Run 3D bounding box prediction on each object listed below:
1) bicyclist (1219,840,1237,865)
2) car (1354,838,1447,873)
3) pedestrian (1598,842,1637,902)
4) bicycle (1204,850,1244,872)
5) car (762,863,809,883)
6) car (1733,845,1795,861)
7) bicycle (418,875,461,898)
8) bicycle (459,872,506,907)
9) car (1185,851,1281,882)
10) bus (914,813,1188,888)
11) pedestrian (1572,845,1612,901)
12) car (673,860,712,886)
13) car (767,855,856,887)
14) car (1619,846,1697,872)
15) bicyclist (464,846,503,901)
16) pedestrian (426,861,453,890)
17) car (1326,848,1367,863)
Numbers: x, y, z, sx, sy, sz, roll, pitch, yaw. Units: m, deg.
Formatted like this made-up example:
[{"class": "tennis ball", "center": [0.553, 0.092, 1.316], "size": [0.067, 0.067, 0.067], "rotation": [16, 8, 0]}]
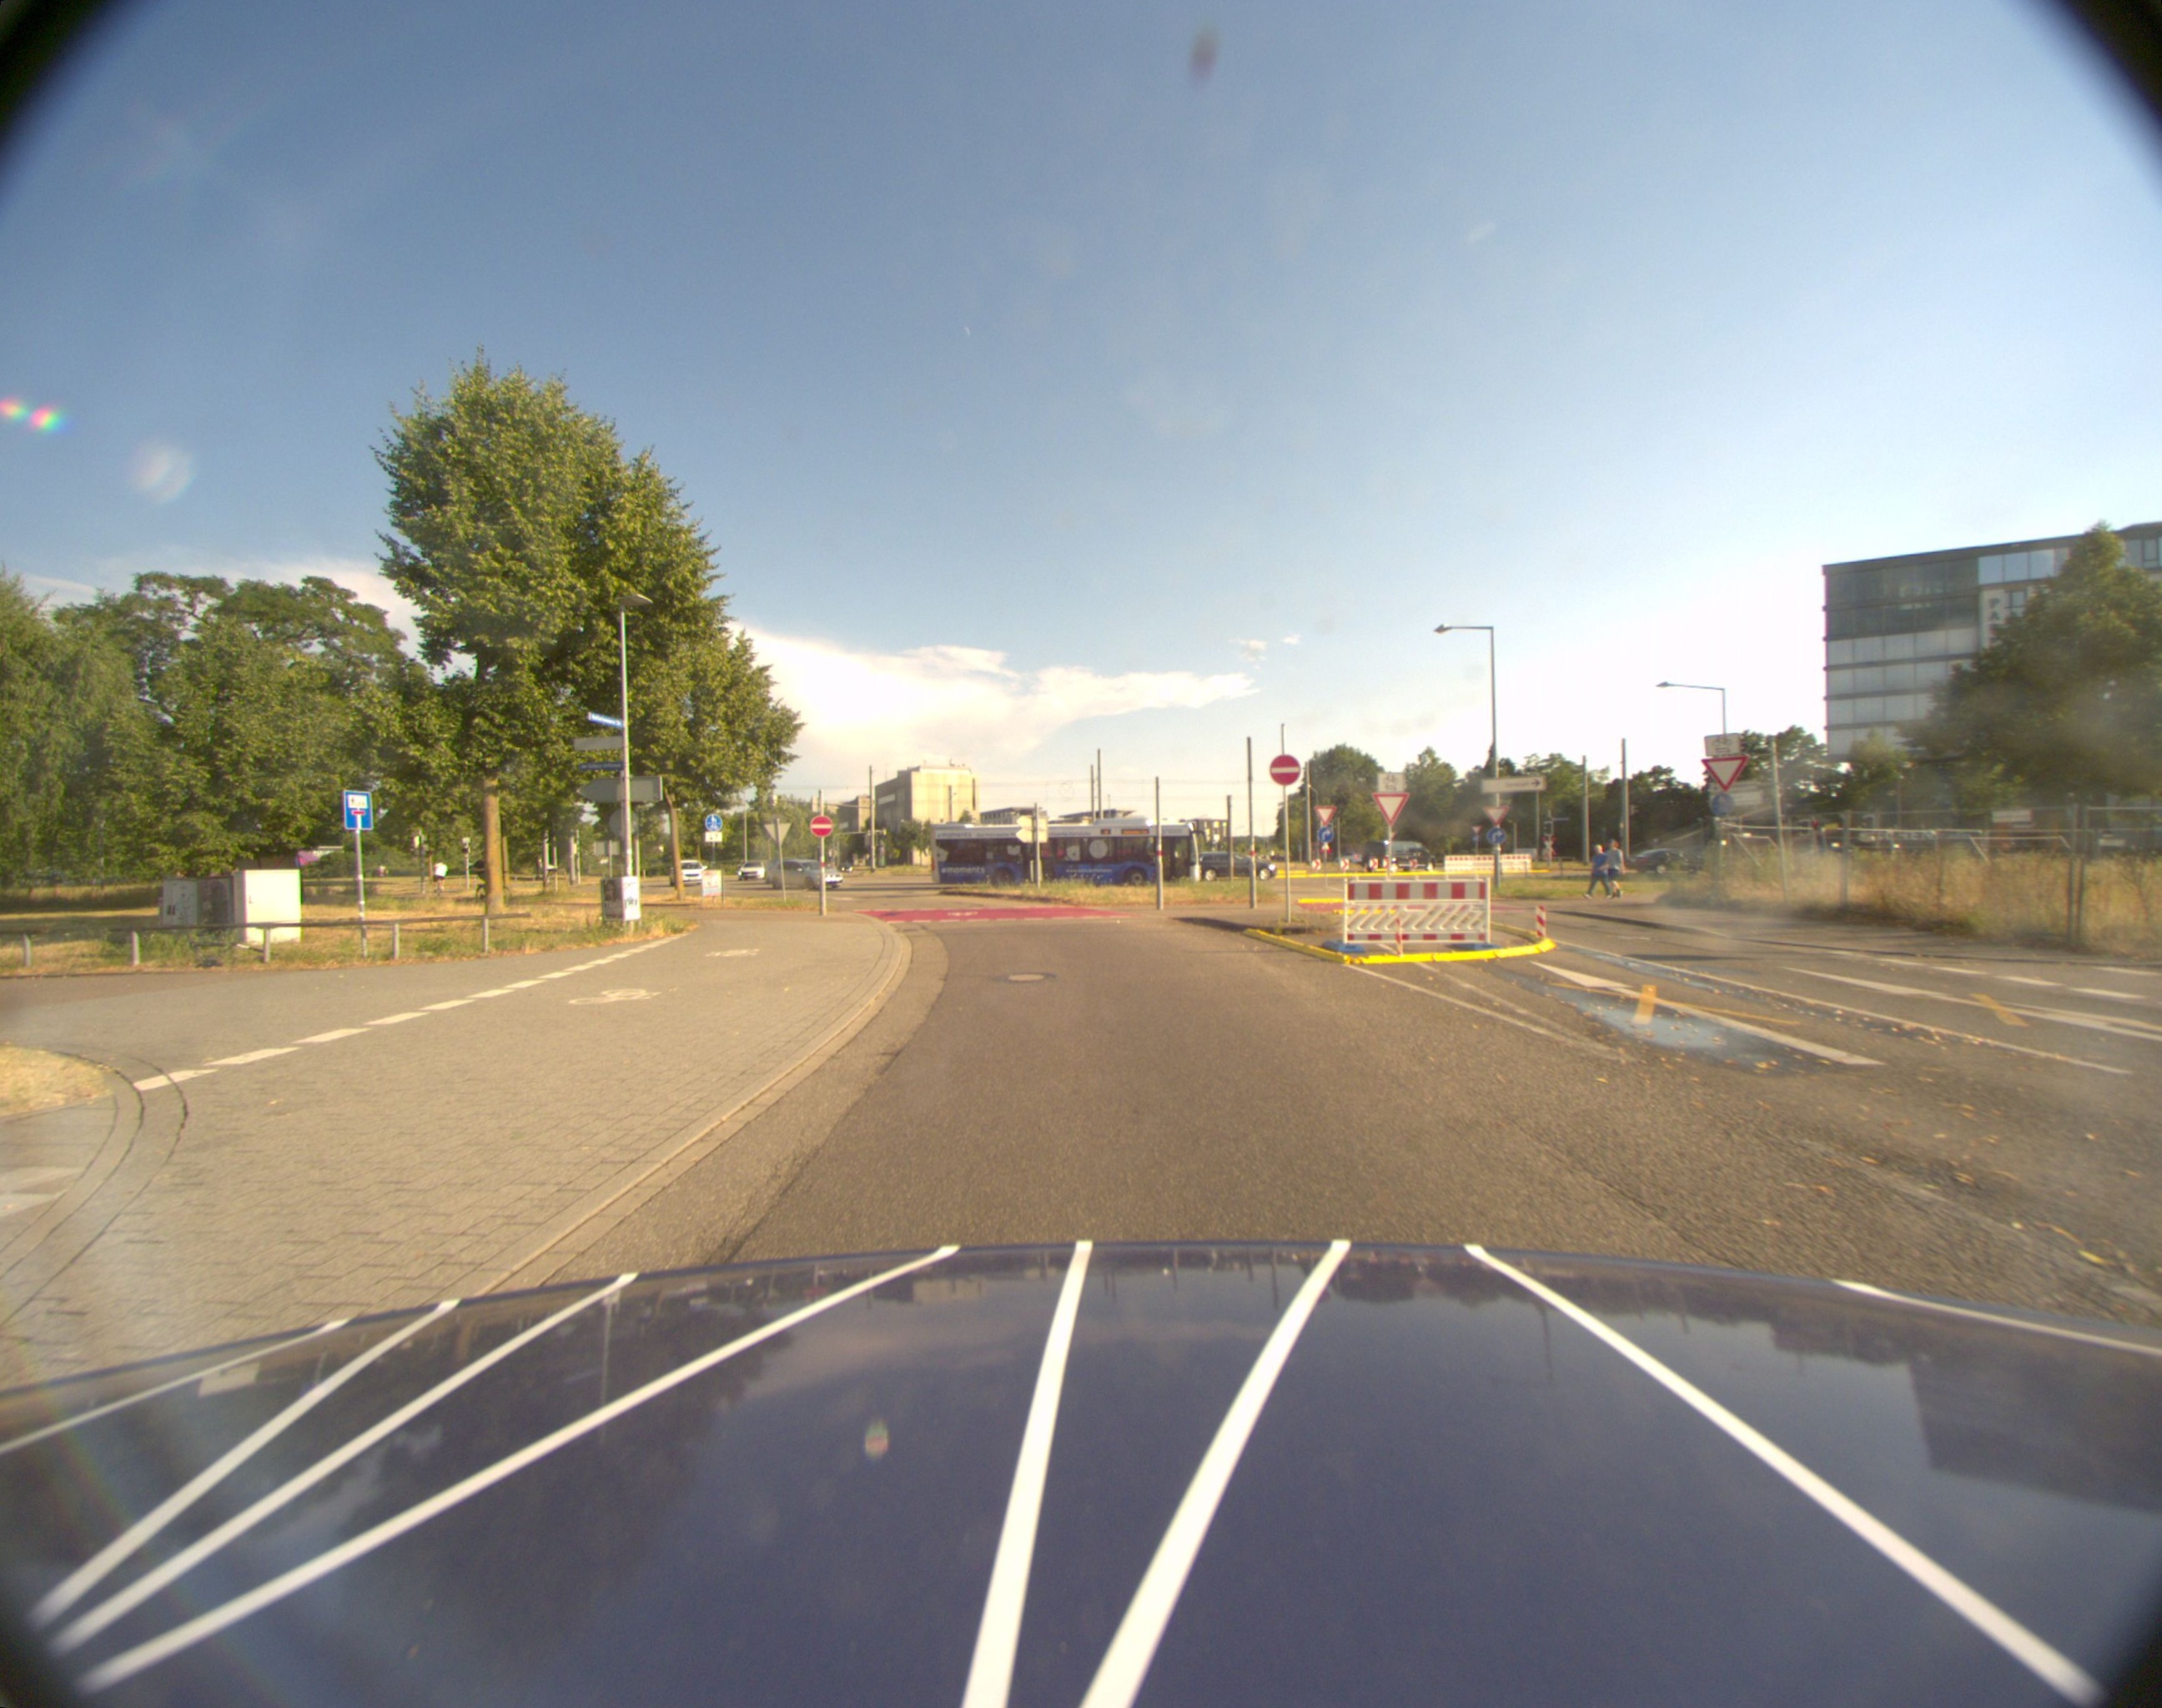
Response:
[{"class": "bicyclist", "center": [8.419, -0.097, 43.515], "size": [0.772, 1.377, 0.883], "rotation": [-3, 3, -7]}, {"class": "car", "center": [19.894, 0.102, 47.321], "size": [5.249, 2.035, 2.091], "rotation": [-1, 0, -20]}, {"class": "pedestrian", "center": [16.127, 0.525, 22.844], "size": [0.773, 1.765, 0.758], "rotation": [-1, 0, -38]}, {"class": "bicycle", "center": [8.167, 0.399, 43.424], "size": [2.031, 1.177, 0.820], "rotation": [-1, 0, -8]}, {"class": "car", "center": [-18.235, 1.163, 46.831], "size": [1.648, 1.171, 3.989], "rotation": [-1, 0, -37]}, {"class": "car", "center": [56.563, -0.094, 63.017], "size": [3.495, 1.232, 1.661], "rotation": [-1, 0, 23]}, {"class": "bicycle", "center": [-31.174, 1.572, 36.958], "size": [0.534, 1.049, 1.913], "rotation": [-1, 0, -2]}, {"class": "bicycle", "center": [-20.047, 1.175, 25.450], "size": [2.119, 1.116, 0.642], "rotation": [-1, 1, 36]}, {"class": "car", "center": [7.671, 0.614, 38.473], "size": [4.386, 1.428, 1.810], "rotation": [-1, 0, -7]}, {"class": "bus", "center": [-1.299, -0.122, 34.733], "size": [12.161, 3.044, 2.668], "rotation": [-1, 0, 8]}, {"class": "pedestrian", "center": [15.893, 0.586, 23.640], "size": [0.814, 1.699, 0.784], "rotation": [-1, 0, -37]}, {"class": "car", "center": [-24.477, 1.161, 47.790], "size": [1.915, 1.542, 4.039], "rotation": [-1, 0, -30]}, {"class": "car", "center": [-13.671, 0.854, 38.562], "size": [3.990, 1.514, 2.004], "rotation": [-1, 0, 27]}, {"class": "car", "center": [33.800, 0.280, 44.476], "size": [4.707, 1.398, 1.839], "rotation": [-1, 0, -28]}, {"class": "bicyclist", "center": [-19.947, 0.650, 25.367], "size": [0.936, 1.790, 0.730], "rotation": [-1, 1, 36]}, {"class": "pedestrian", "center": [-31.090, 1.033, 36.828], "size": [0.652, 1.383, 0.767], "rotation": [0, 0, -1]}, {"class": "car", "center": [29.124, 0.210, 83.472], "size": [2.003, 1.565, 3.991], "rotation": [-1, 0, -27]}]
